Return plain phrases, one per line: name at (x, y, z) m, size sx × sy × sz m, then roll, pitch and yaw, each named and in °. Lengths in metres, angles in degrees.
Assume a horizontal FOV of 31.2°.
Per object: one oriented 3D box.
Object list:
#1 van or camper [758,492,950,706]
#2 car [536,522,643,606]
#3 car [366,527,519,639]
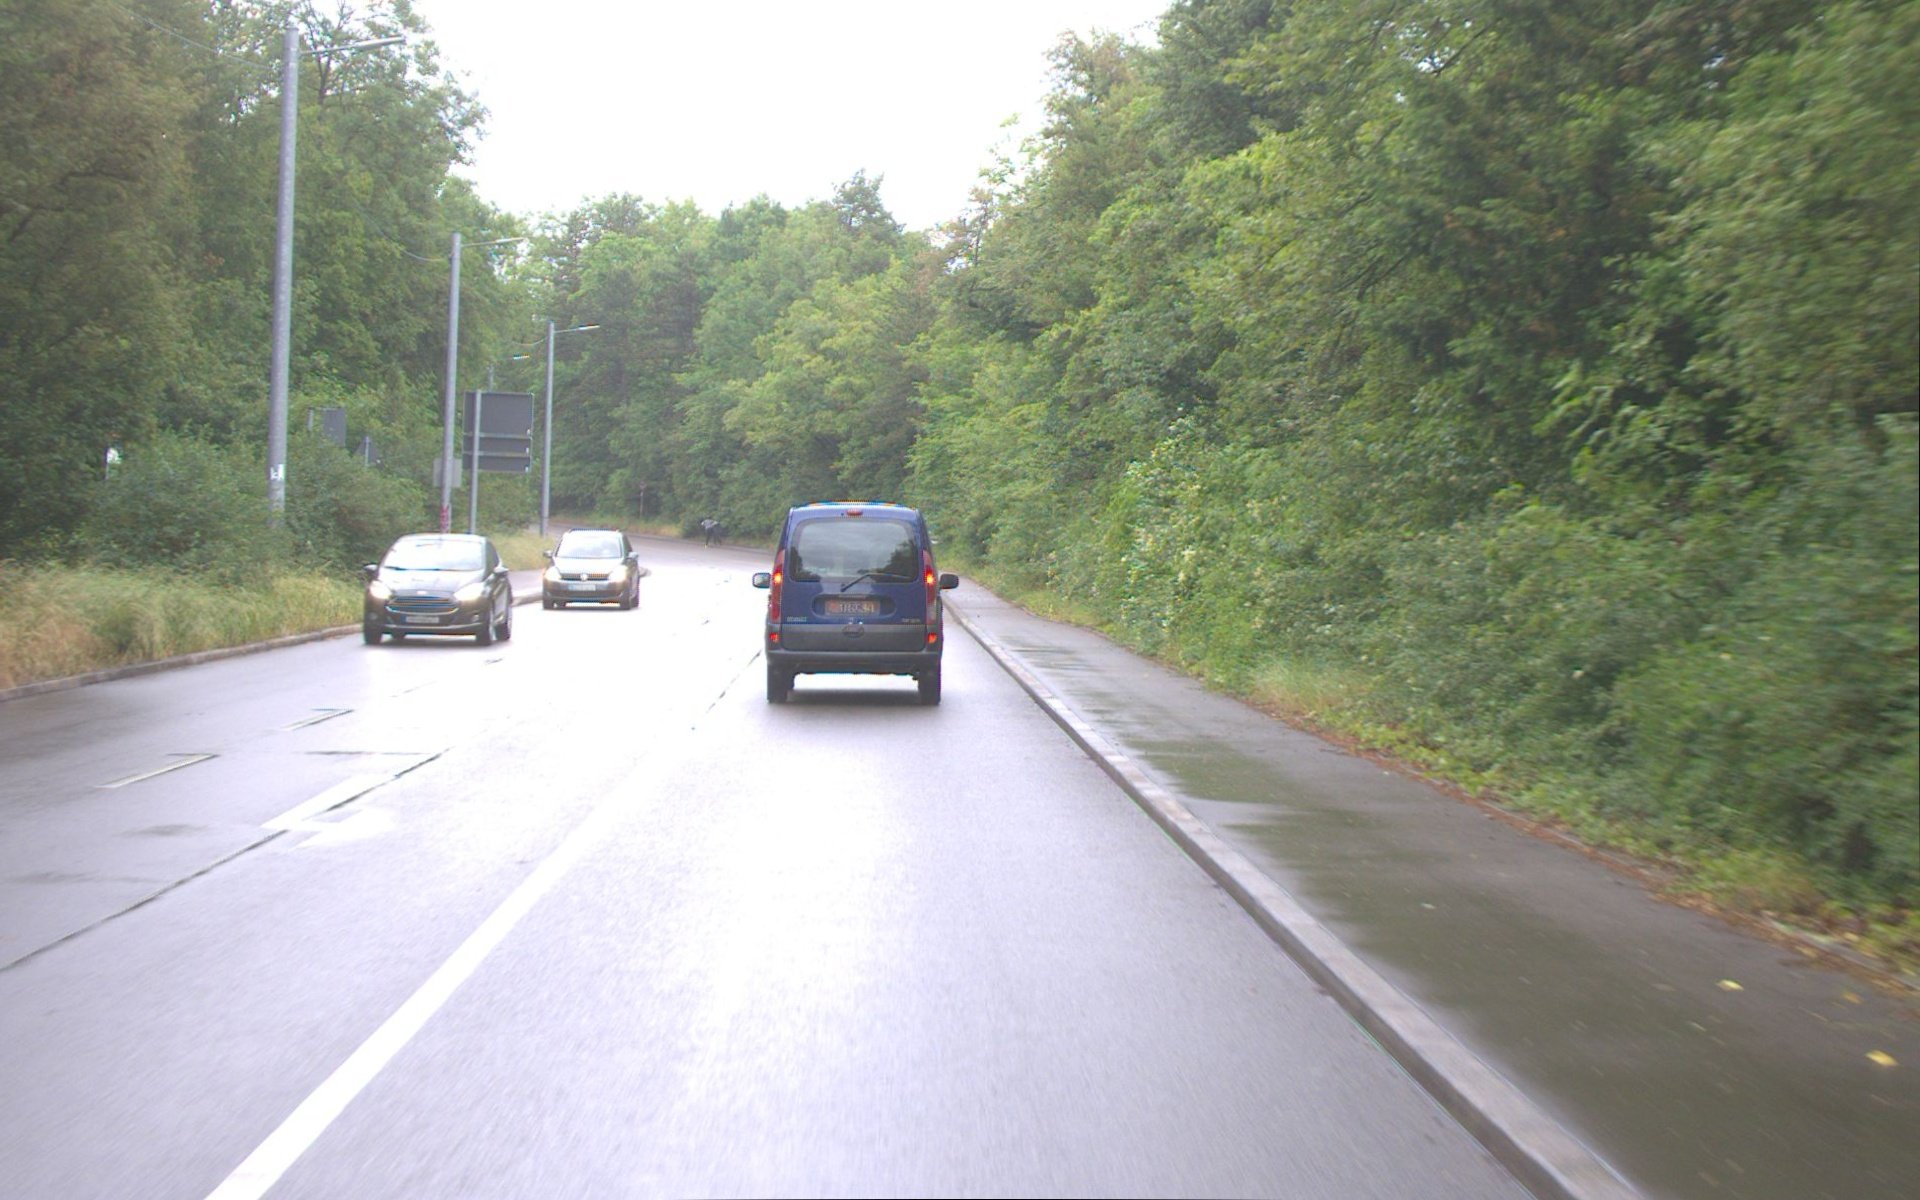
van or camper at (-0.989, -0.071, 32.775) m, size 1.712 × 1.819 × 4.001 m, roll 0°, pitch 3°, yaw -1°
car at (-7.513, -0.754, 70.028) m, size 1.771 × 1.605 × 4.084 m, roll 2°, pitch 1°, yaw -1°
car at (-6.950, -0.262, 46.474) m, size 1.598 × 1.436 × 3.991 m, roll 0°, pitch 1°, yaw -2°
